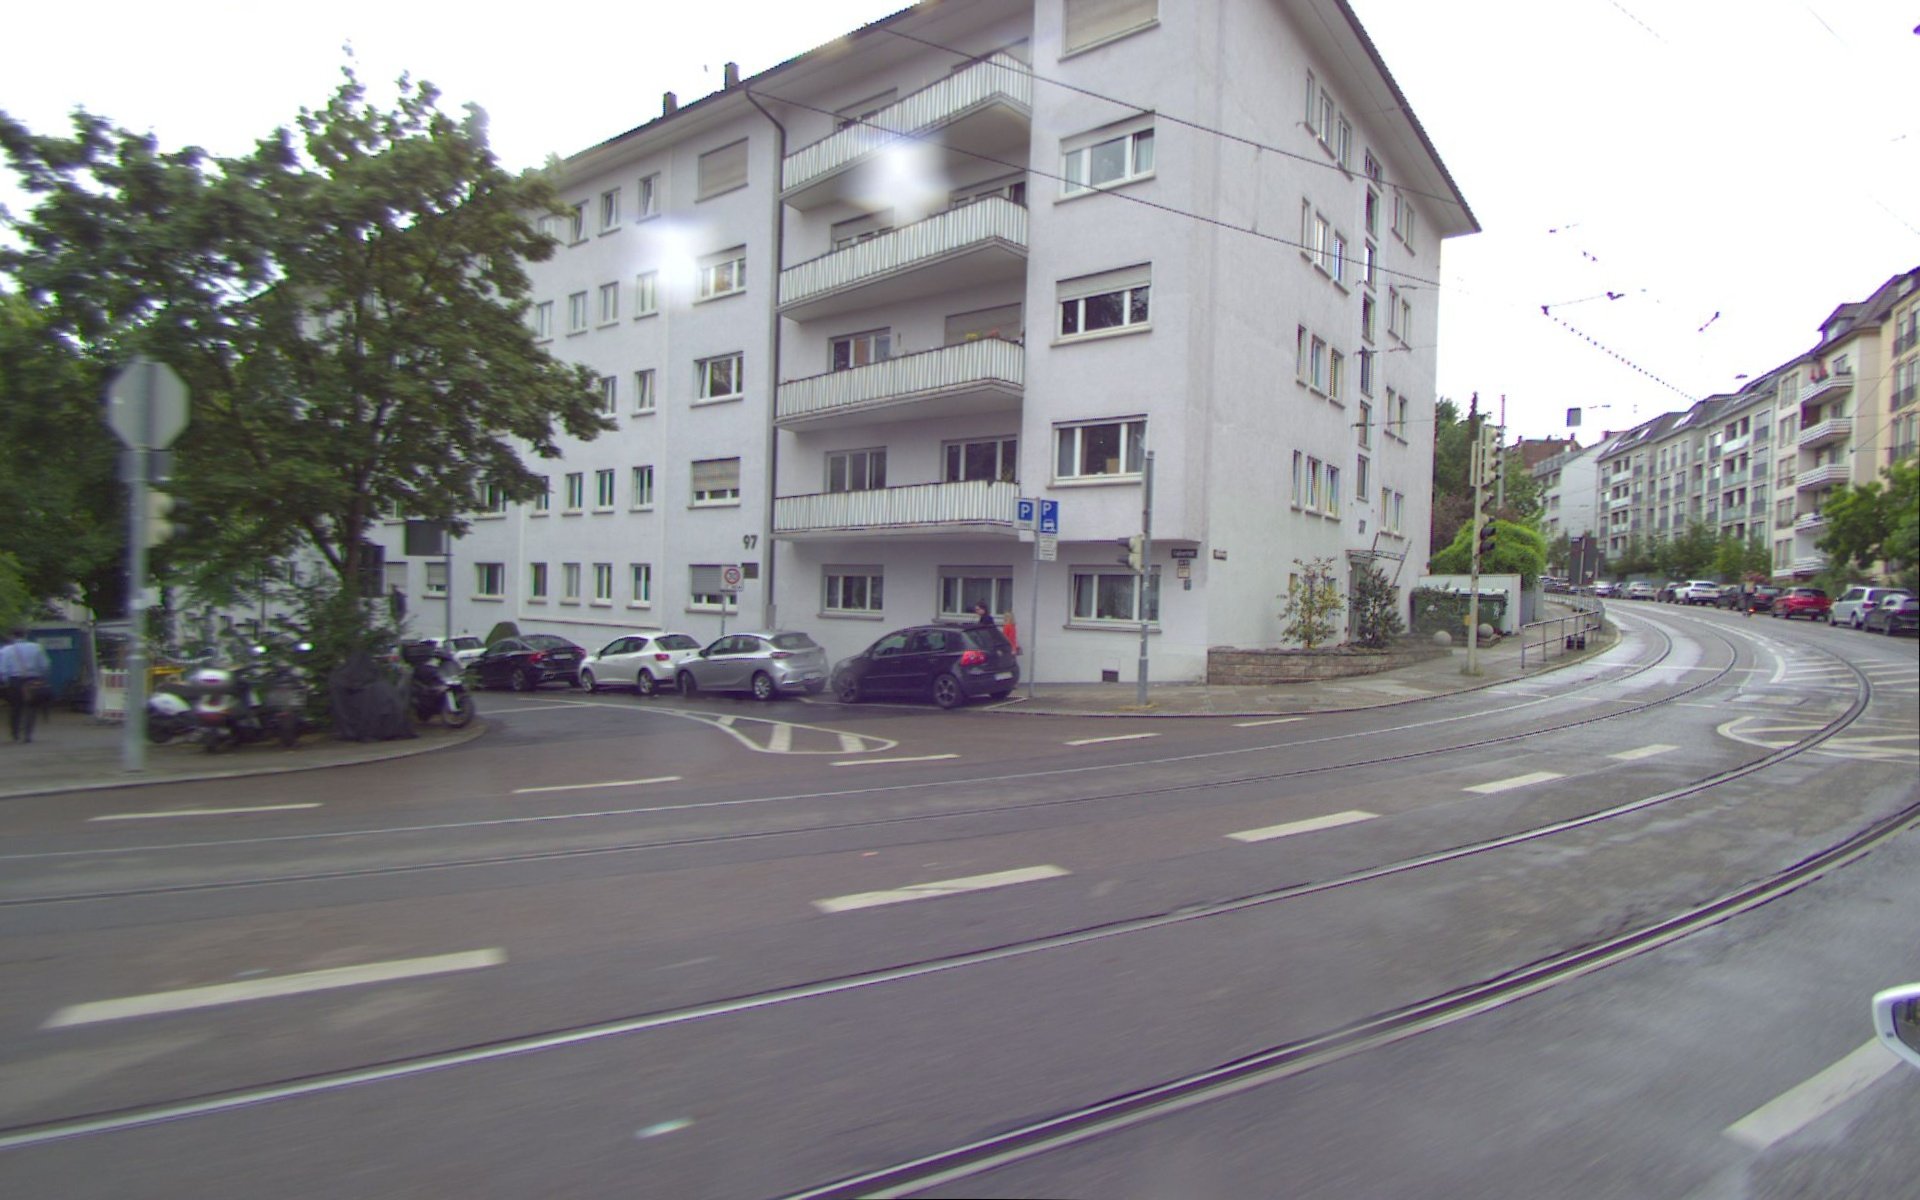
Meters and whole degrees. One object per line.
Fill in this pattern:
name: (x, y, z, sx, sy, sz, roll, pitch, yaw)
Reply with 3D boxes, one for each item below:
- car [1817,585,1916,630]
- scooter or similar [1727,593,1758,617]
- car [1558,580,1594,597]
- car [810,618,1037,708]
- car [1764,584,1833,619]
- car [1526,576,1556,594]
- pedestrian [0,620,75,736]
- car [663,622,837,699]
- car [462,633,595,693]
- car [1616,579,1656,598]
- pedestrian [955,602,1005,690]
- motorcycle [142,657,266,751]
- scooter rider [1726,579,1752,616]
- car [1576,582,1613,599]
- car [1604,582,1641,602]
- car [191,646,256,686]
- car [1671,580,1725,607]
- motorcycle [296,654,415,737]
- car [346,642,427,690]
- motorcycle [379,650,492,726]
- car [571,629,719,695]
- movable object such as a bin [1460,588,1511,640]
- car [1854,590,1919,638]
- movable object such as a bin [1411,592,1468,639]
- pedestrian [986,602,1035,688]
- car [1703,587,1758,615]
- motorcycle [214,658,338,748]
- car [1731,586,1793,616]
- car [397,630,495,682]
car: (35.550, 0.259, 39.506, 1.738, 1.625, 4.283, 1, 1, 26)
scooter or similar: (38.067, 0.212, 48.886, 0.505, 1.064, 2.008, 4, 3, 19)
car: (62.585, -1.164, 102.154, 1.736, 1.637, 4.250, 1, 2, 11)
car: (-0.769, 1.149, 19.614, 4.186, 1.474, 1.848, -1, 2, 38)
car: (39.375, 0.045, 47.240, 1.696, 1.456, 3.834, 3, 3, 28)
car: (65.655, -1.703, 113.571, 1.737, 1.811, 4.249, 3, 3, 15)
pedestrian: (-13.994, 1.158, 15.175, 0.763, 1.706, 0.568, 0, -1, -15)
car: (-4.738, 1.287, 22.498, 3.829, 1.474, 1.648, -1, 2, 36)
car: (-11.926, 1.686, 27.707, 3.687, 1.460, 1.699, 0, 0, 35)
car: (55.303, -0.938, 82.216, 1.634, 1.491, 4.506, 3, 2, 21)
pedestrian: (0.411, 0.925, 20.489, 0.733, 1.723, 0.670, 0, 3, 37)
motorcycle: (-9.770, 1.304, 12.956, 2.086, 1.063, 0.484, -1, 1, 30)
scooter rider: (37.942, -0.121, 48.950, 0.612, 1.729, 0.844, 4, 4, 19)
car: (59.099, -0.917, 93.624, 1.732, 1.454, 4.639, 1, 2, 17)
car: (56.987, -0.677, 86.451, 1.673, 1.533, 3.713, 3, 3, 19)
car: (-32.667, 2.898, 44.527, 3.364, 1.486, 1.455, 0, 3, 39)
car: (48.980, -0.447, 66.775, 1.807, 1.594, 4.246, 4, 3, 22)
motorcycle: (-8.758, 1.351, 14.526, 2.086, 1.063, 0.484, -1, 3, 30)
car: (-19.275, 2.177, 33.715, 3.015, 1.460, 1.389, 0, 0, 39)
motorcycle: (-8.177, 1.343, 15.619, 2.086, 1.063, 0.484, -1, 3, 30)
car: (-7.868, 1.479, 25.003, 3.687, 1.460, 1.614, 0, 0, 35)
movable object such as a bin: (16.000, 0.416, 30.579, 1.170, 1.481, 1.285, 0, 2, 37)
car: (32.920, 0.457, 35.053, 1.740, 1.410, 3.991, 3, 4, 30)
movable object such as a bin: (14.999, 0.474, 31.395, 1.351, 1.354, 1.320, 0, 2, 37)
pedestrian: (1.048, 0.916, 20.973, 0.734, 1.723, 0.670, 0, 3, 41)
car: (45.639, 0.040, 59.573, 1.531, 1.456, 4.300, 2, 3, 24)
motorcycle: (-9.212, 1.349, 13.496, 2.086, 1.063, 0.484, -1, 3, 30)
car: (43.120, 0.015, 54.092, 1.657, 1.456, 4.059, 3, 3, 26)
car: (-15.917, 1.682, 31.068, 3.274, 1.460, 1.519, 0, 0, 39)
